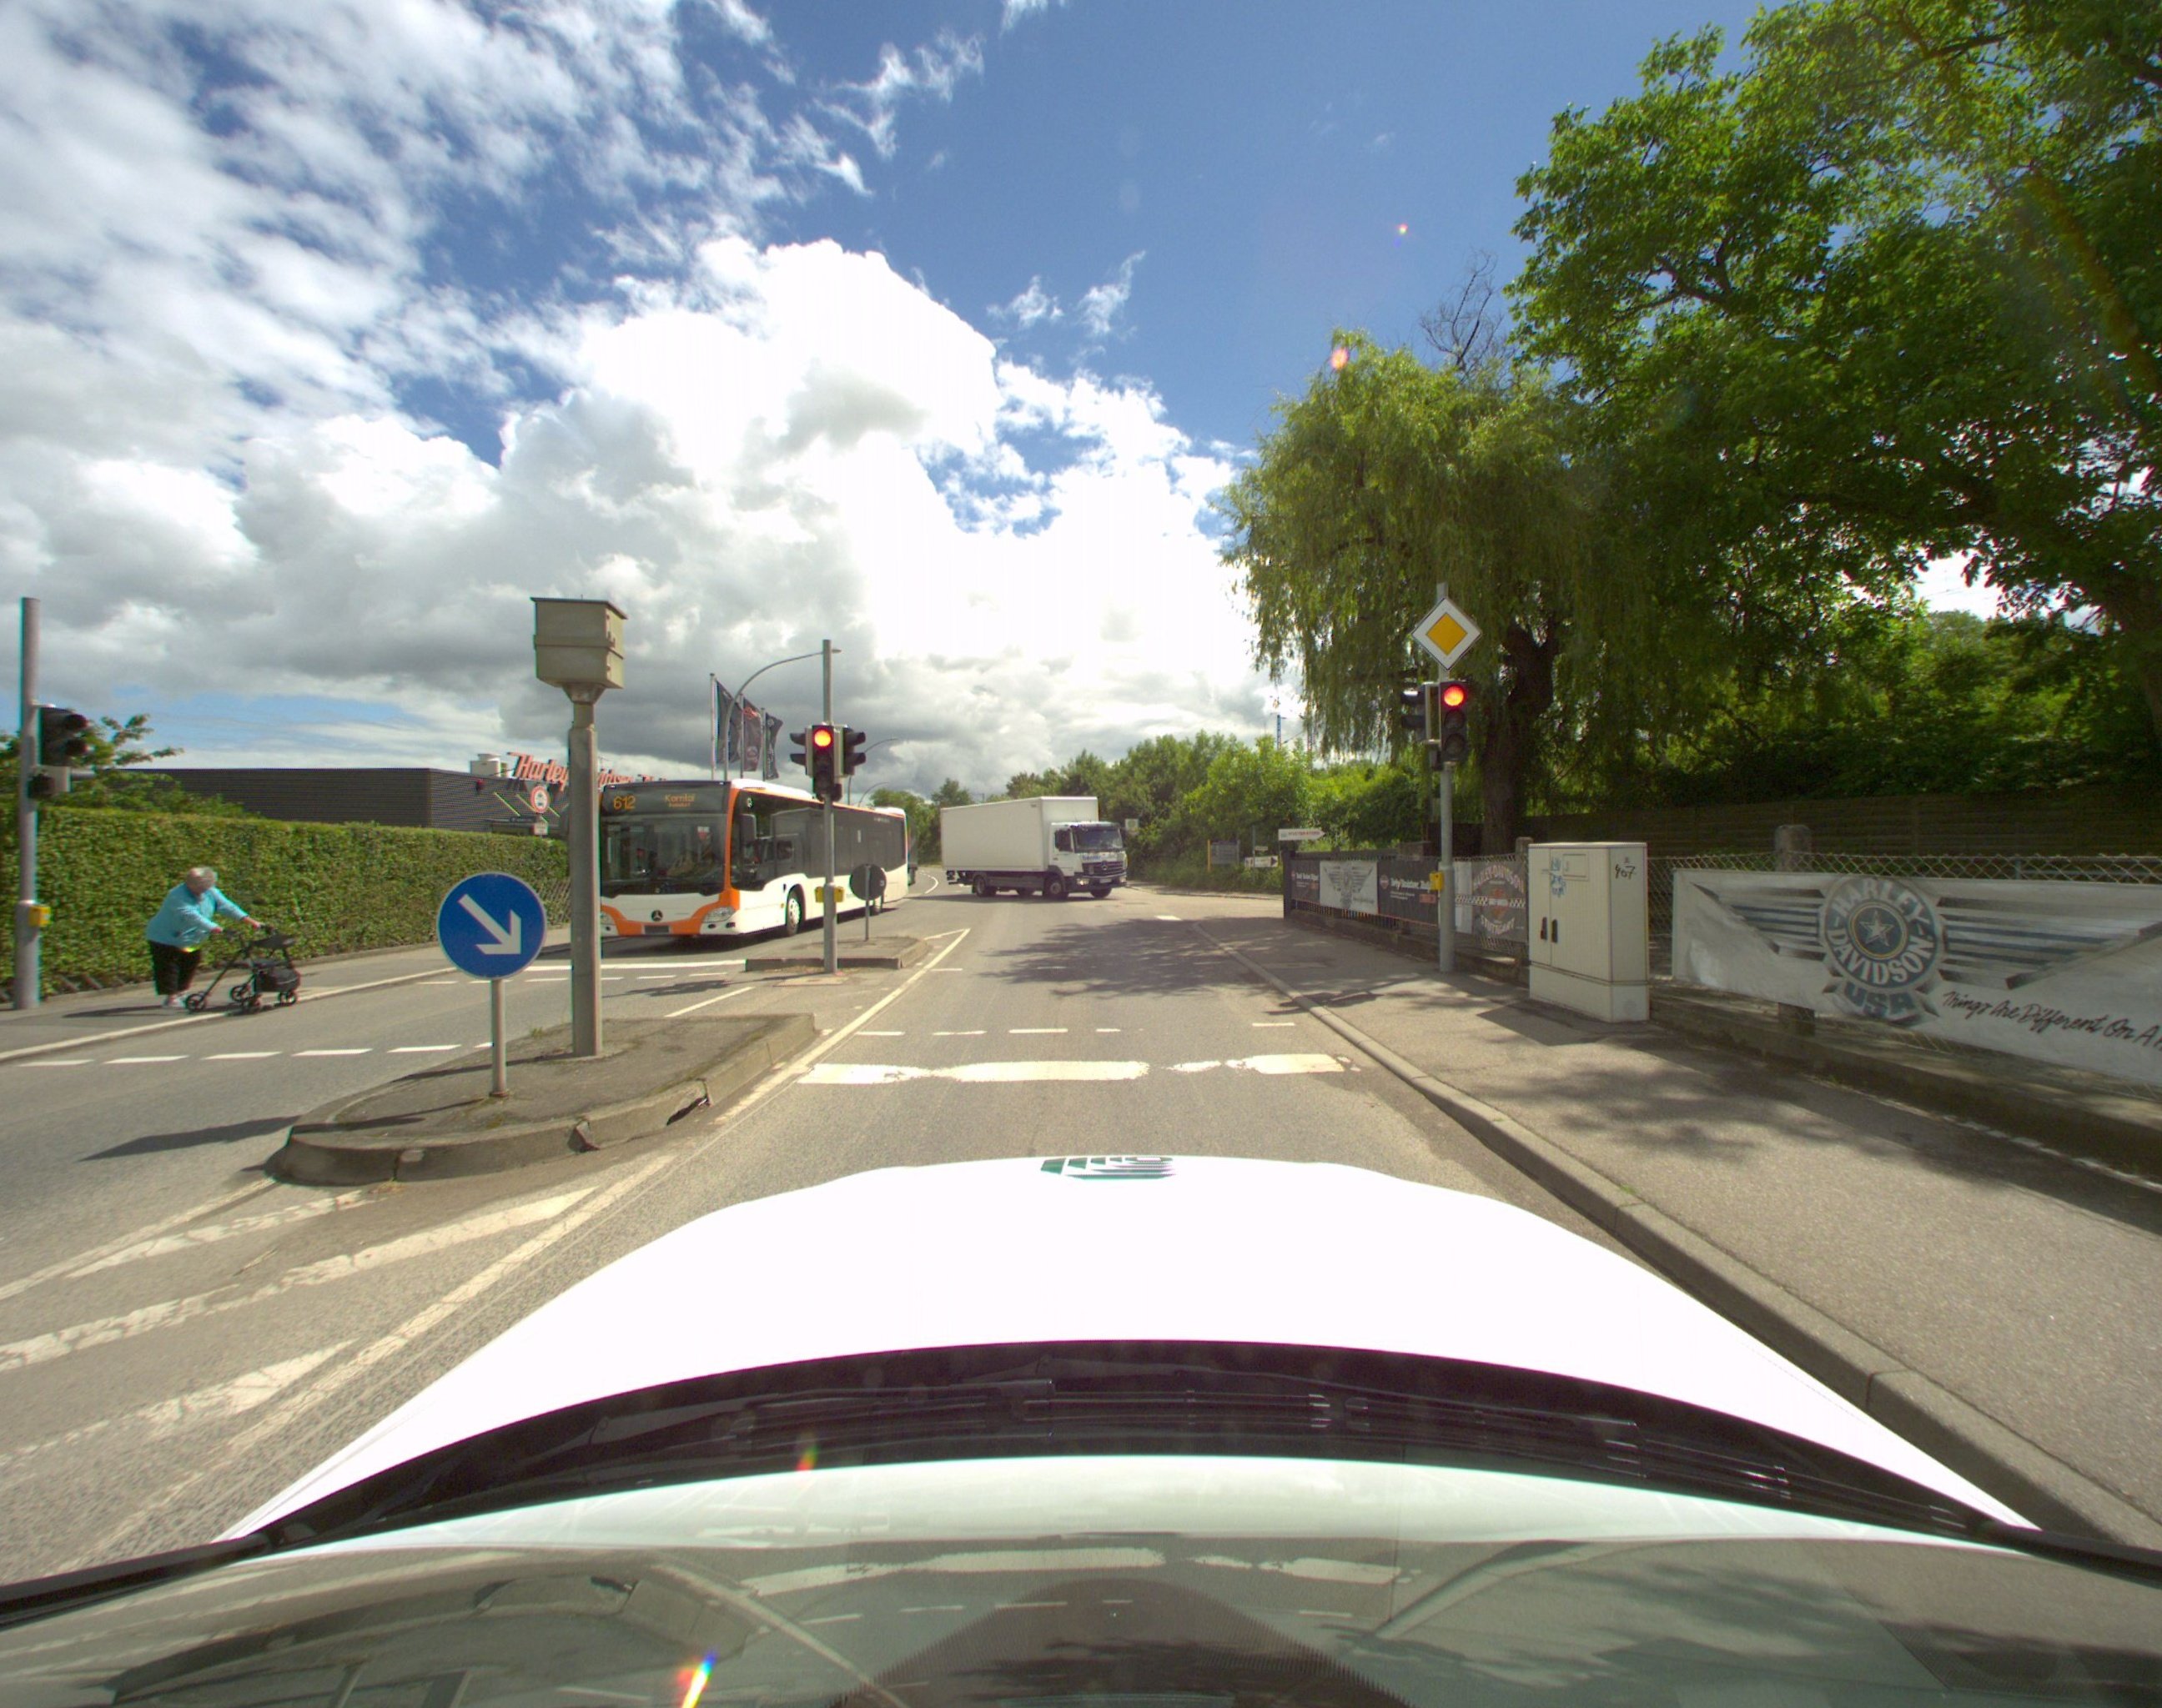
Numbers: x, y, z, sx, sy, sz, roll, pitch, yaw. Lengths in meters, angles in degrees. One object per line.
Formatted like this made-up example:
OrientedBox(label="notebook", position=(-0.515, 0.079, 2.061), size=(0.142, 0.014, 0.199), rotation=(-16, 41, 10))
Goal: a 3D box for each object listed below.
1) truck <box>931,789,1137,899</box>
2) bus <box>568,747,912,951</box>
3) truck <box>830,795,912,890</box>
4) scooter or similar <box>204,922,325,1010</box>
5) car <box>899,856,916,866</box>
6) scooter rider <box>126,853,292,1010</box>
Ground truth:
OrientedBox(label="truck", position=(-2.171, -0.297, 30.979), size=(2.862, 3.541, 9.614), rotation=(-1, 0, -38))
OrientedBox(label="bus", position=(-6.868, -0.035, 19.456), size=(2.767, 3.266, 12.126), rotation=(-2, 0, 1))
OrientedBox(label="truck", position=(-10.222, -0.462, 40.584), size=(2.425, 4.131, 9.132), rotation=(1, -1, -6))
OrientedBox(label="scooter or similar", position=(-8.761, 1.189, 8.761), size=(0.609, 0.831, 0.659), rotation=(2, 0, 0))
OrientedBox(label="car", position=(-26.823, 1.139, 126.024), size=(1.892, 1.508, 3.971), rotation=(0, 0, -22))
OrientedBox(label="scooter rider", position=(-9.336, 0.793, 8.760), size=(0.875, 1.589, 0.796), rotation=(1, 0, 0))
